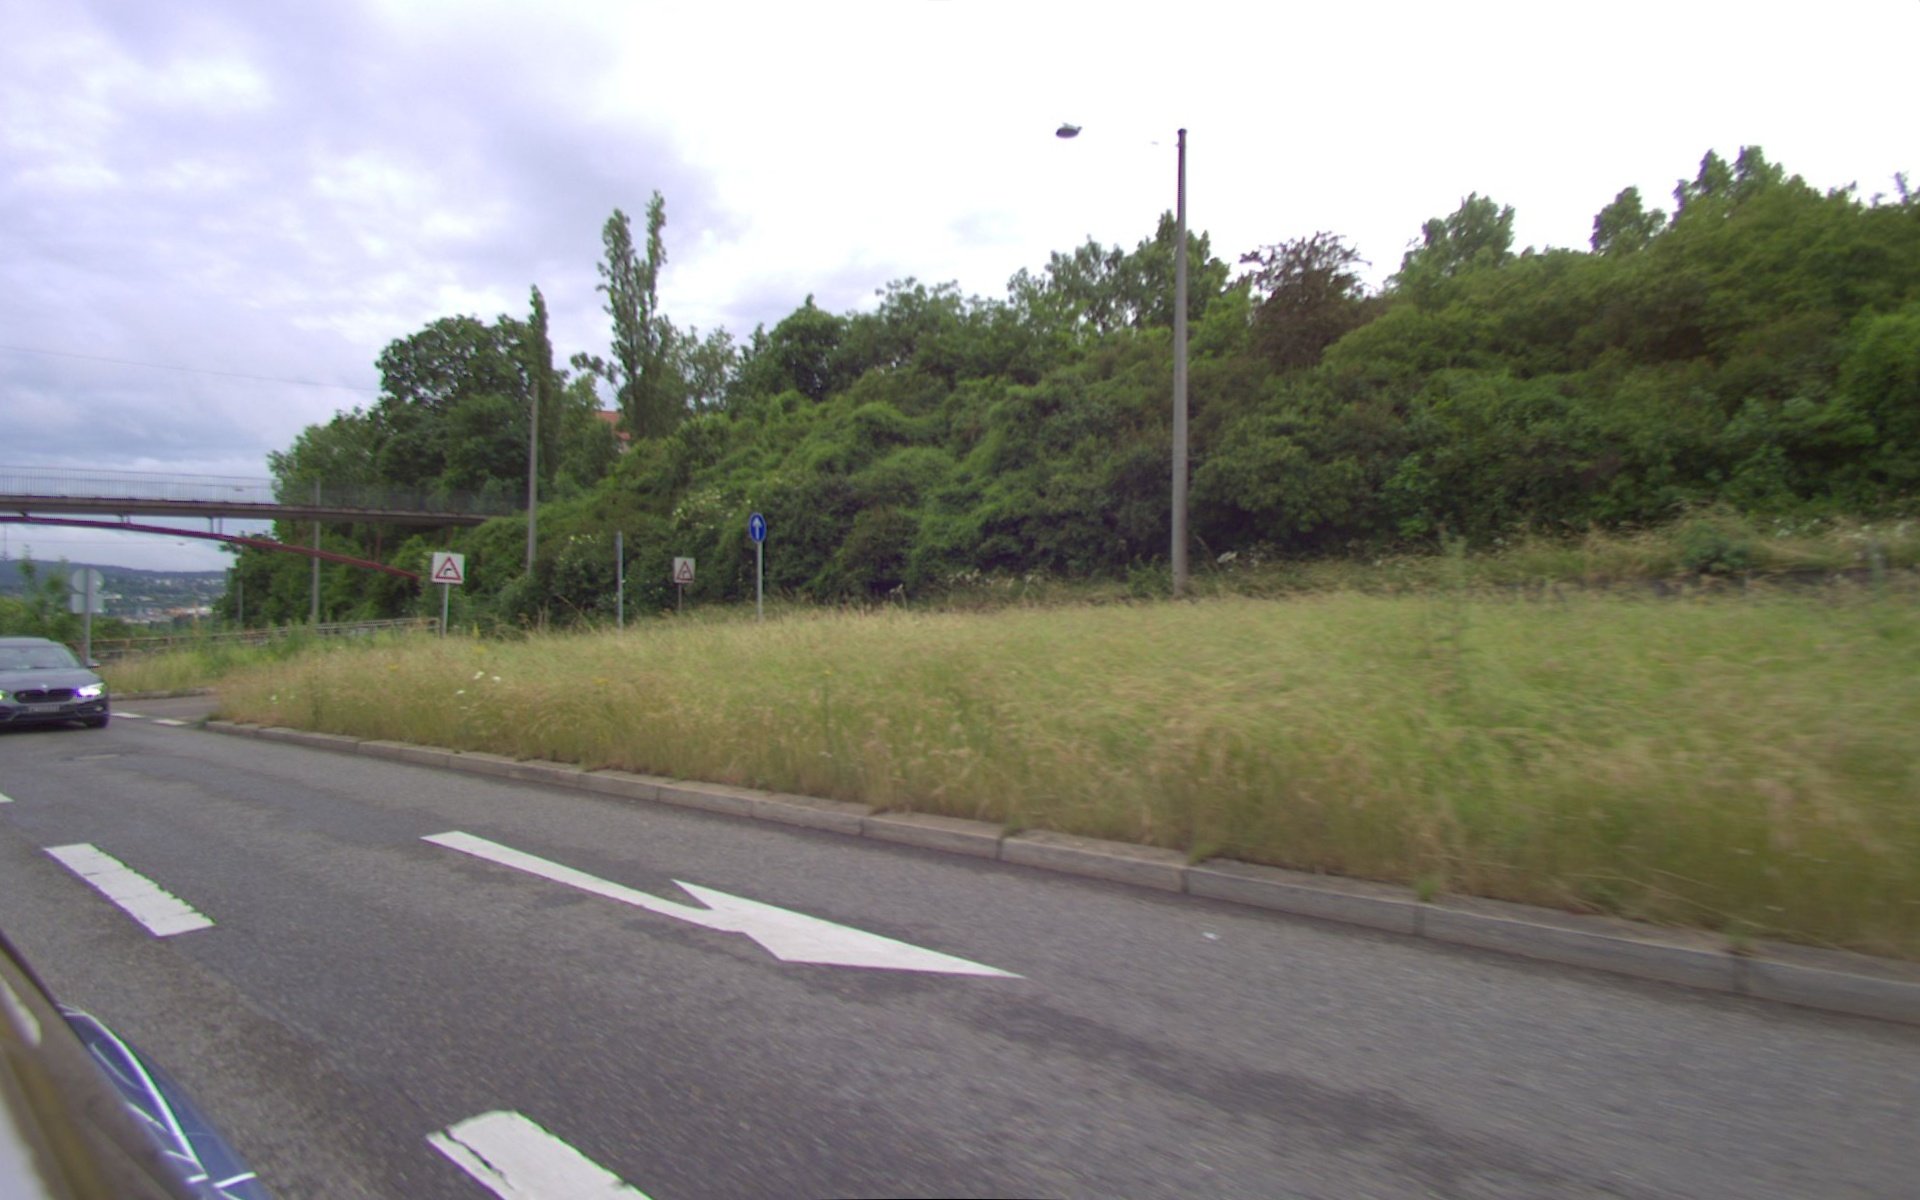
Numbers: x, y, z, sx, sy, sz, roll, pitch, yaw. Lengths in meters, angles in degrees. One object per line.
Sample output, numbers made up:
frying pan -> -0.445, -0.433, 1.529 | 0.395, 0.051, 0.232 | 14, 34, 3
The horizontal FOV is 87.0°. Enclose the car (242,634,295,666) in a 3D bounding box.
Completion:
car -> -43.333, 3.121, 63.351 | 1.970, 1.848, 4.633 | 1, -2, -44

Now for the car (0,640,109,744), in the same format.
car -> -15.284, 1.427, 16.316 | 3.883, 1.482, 1.708 | -3, -2, 39
